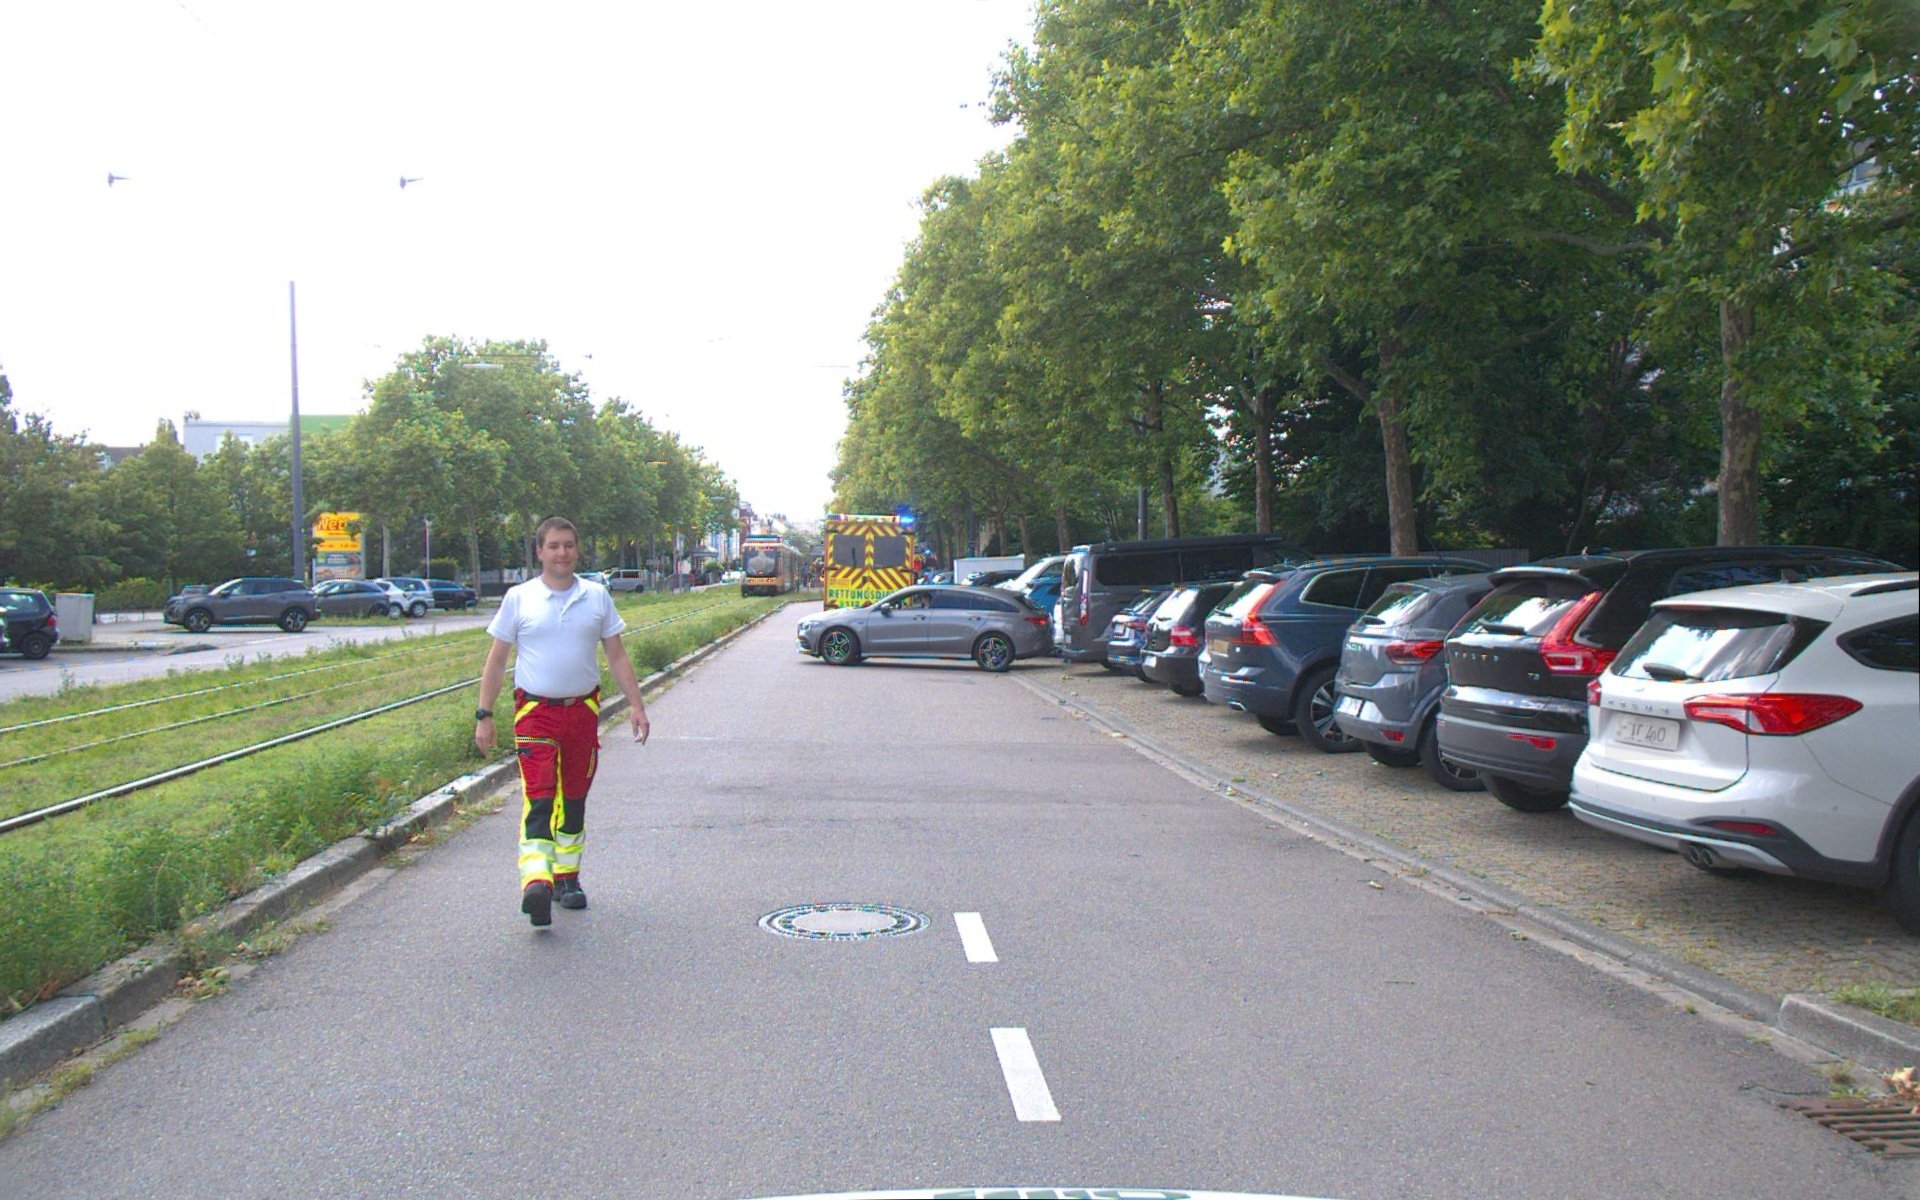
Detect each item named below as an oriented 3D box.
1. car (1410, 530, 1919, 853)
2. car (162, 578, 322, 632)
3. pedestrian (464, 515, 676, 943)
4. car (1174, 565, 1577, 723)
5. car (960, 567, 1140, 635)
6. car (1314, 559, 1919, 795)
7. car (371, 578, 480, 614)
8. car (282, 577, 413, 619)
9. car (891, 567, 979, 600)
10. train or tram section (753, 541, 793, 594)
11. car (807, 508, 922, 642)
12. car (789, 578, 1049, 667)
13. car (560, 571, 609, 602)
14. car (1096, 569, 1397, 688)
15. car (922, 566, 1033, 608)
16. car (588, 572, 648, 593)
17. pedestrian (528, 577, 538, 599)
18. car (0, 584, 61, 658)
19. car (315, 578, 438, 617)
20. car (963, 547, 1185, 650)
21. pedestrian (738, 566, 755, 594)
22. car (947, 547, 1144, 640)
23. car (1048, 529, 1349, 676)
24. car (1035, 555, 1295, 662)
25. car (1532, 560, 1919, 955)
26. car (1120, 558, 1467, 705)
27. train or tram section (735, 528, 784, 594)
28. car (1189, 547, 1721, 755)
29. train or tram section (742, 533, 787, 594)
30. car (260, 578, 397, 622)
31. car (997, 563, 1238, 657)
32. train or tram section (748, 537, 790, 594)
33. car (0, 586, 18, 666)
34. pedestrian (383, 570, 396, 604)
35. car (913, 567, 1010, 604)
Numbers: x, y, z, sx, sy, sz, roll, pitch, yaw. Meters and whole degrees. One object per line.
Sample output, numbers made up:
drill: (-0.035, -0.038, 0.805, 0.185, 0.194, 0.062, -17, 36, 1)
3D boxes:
car: (5.255, 0.424, 9.931, 4.571, 1.654, 1.845, -2, 1, -8)
car: (-21.131, 0.136, 48.694, 4.175, 1.508, 1.865, 0, 0, -29)
pedestrian: (-1.704, 0.510, 7.161, 0.792, 1.716, 0.846, 0, 0, -21)
car: (4.437, 0.438, 18.006, 3.888, 1.520, 1.754, -2, 1, -5)
car: (2.344, 0.014, 43.645, 4.461, 1.636, 1.852, -2, 1, -8)
car: (5.009, 0.507, 12.395, 4.293, 1.527, 1.755, -1, 1, -3)
car: (-23.524, -0.181, 72.831, 4.202, 1.508, 1.853, 0, 0, -44)
car: (-22.793, -0.075, 61.617, 4.196, 1.508, 1.856, 0, 0, -40)
car: (-1.350, -0.866, 88.255, 4.461, 1.636, 1.852, -2, 1, -8)
train or tram section: (-13.511, -2.278, 119.939, 2.463, 3.646, 7.438, -2, 0, -5)
car: (-2.374, -0.614, 41.828, 2.589, 3.018, 6.296, 2, 0, -3)
car: (-0.665, 0.372, 29.117, 4.359, 1.409, 1.768, 2, 1, 5)
car: (-20.013, -0.737, 88.288, 1.955, 1.585, 4.366, -2, 1, -5)
car: (4.015, 0.377, 23.567, 3.888, 1.520, 1.754, -2, 0, -5)
car: (0.716, -0.563, 70.291, 4.461, 1.636, 1.852, -2, 1, -8)
car: (-28.320, -1.476, 137.130, 4.592, 1.661, 1.853, -2, 1, -44)
pedestrian: (-29.060, -0.824, 112.598, 0.412, 1.439, 0.467, 0, 1, 20)
car: (-21.028, 0.463, 34.159, 4.184, 1.508, 1.861, -2, 1, -34)
car: (-22.779, -0.099, 64.666, 4.196, 1.508, 1.856, 0, 0, -40)
car: (2.416, -0.051, 35.566, 4.461, 2.035, 1.852, -2, 1, -8)
pedestrian: (-12.000, -1.141, 93.046, 0.863, 1.552, 0.750, 1, 0, -5)
car: (2.041, -0.182, 40.140, 4.461, 2.079, 1.852, -2, 1, -8)
car: (3.766, 0.018, 26.551, 4.457, 2.160, 1.854, -2, 1, -5)
car: (3.736, 0.135, 30.588, 4.457, 1.797, 1.854, -2, 1, -5)
car: (5.257, 0.553, 7.694, 4.571, 1.499, 1.845, -2, 1, -8)
car: (4.143, 0.349, 20.717, 3.900, 1.633, 1.749, -2, 1, -15)
train or tram section: (-11.797, -2.248, 97.703, 2.463, 3.646, 7.438, -2, 0, -5)
car: (4.391, 0.416, 15.072, 4.293, 1.668, 1.755, -1, 1, -3)
train or tram section: (-12.375, -2.258, 105.107, 2.463, 3.646, 7.438, -2, 0, -5)
car: (-22.391, -0.006, 58.685, 4.196, 1.508, 1.856, 0, 0, -40)
car: (3.116, 0.177, 33.080, 4.462, 1.689, 1.852, -2, 1, -9)
train or tram section: (-12.947, -2.268, 112.524, 2.463, 3.646, 7.438, -2, 0, -5)
car: (-20.262, 0.539, 31.243, 4.184, 1.508, 1.861, -2, 1, -34)
pedestrian: (-28.791, -0.669, 83.428, 0.457, 1.706, 0.602, -1, 1, -6)
car: (0.071, -0.704, 80.113, 4.461, 1.636, 1.852, -2, 1, -8)
